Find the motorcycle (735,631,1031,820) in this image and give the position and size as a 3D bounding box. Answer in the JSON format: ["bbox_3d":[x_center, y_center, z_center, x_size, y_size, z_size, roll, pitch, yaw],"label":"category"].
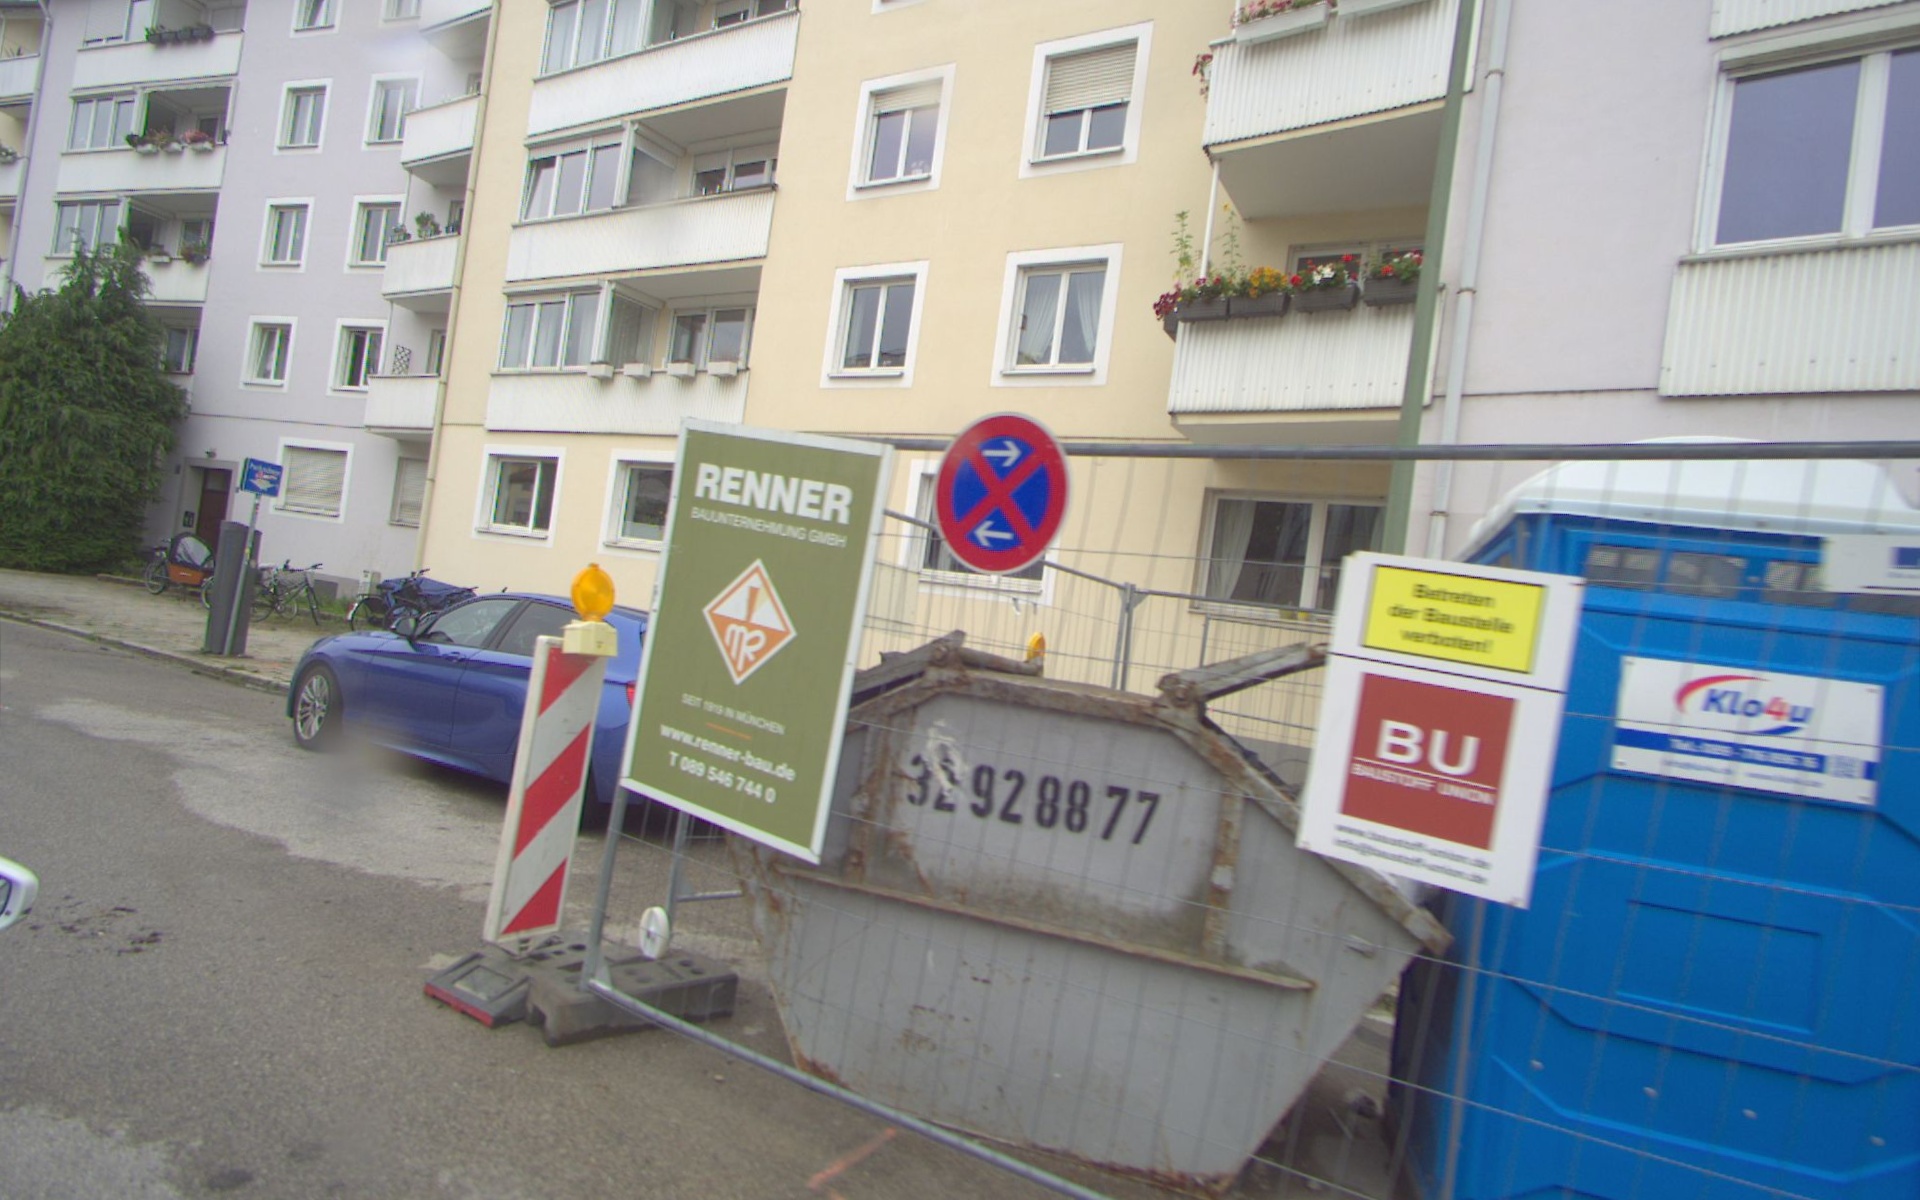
[{"bbox_3d":[-0.733,1.088,9.182,2.465,1.235,0.934,7,-2,31],"label":"motorcycle"}]

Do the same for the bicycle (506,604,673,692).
[{"bbox_3d":[-5.624,0.767,15.445,0.904,1.081,2.238,7,-2,30],"label":"bicycle"}]

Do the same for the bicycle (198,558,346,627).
[{"bbox_3d":[-12.294,-0.110,18.050,0.762,1.029,2.013,7,0,24],"label":"bicycle"}]

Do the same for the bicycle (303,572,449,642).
[{"bbox_3d":[-9.971,0.153,17.265,0.762,1.029,2.013,7,0,24],"label":"bicycle"}]

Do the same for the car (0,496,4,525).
[{"bbox_3d":[-16.200,-1.044,14.593,3.927,1.592,1.838,8,-2,23],"label":"car"}]

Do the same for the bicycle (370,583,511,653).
[{"bbox_3d":[-8.856,0.329,17.257,0.762,1.029,2.013,7,0,26],"label":"bicycle"}]

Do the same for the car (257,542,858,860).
[{"bbox_3d":[-3.060,0.591,7.438,4.209,1.455,1.785,7,-2,30],"label":"car"}]

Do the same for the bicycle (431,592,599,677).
[{"bbox_3d":[-7.019,0.580,16.014,0.904,1.081,2.238,7,-2,30],"label":"bicycle"}]

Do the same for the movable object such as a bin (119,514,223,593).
[{"bbox_3d":[-16.271,-0.946,20.763,1.032,1.453,1.292,7,3,22],"label":"movable object such as a bin"}]
